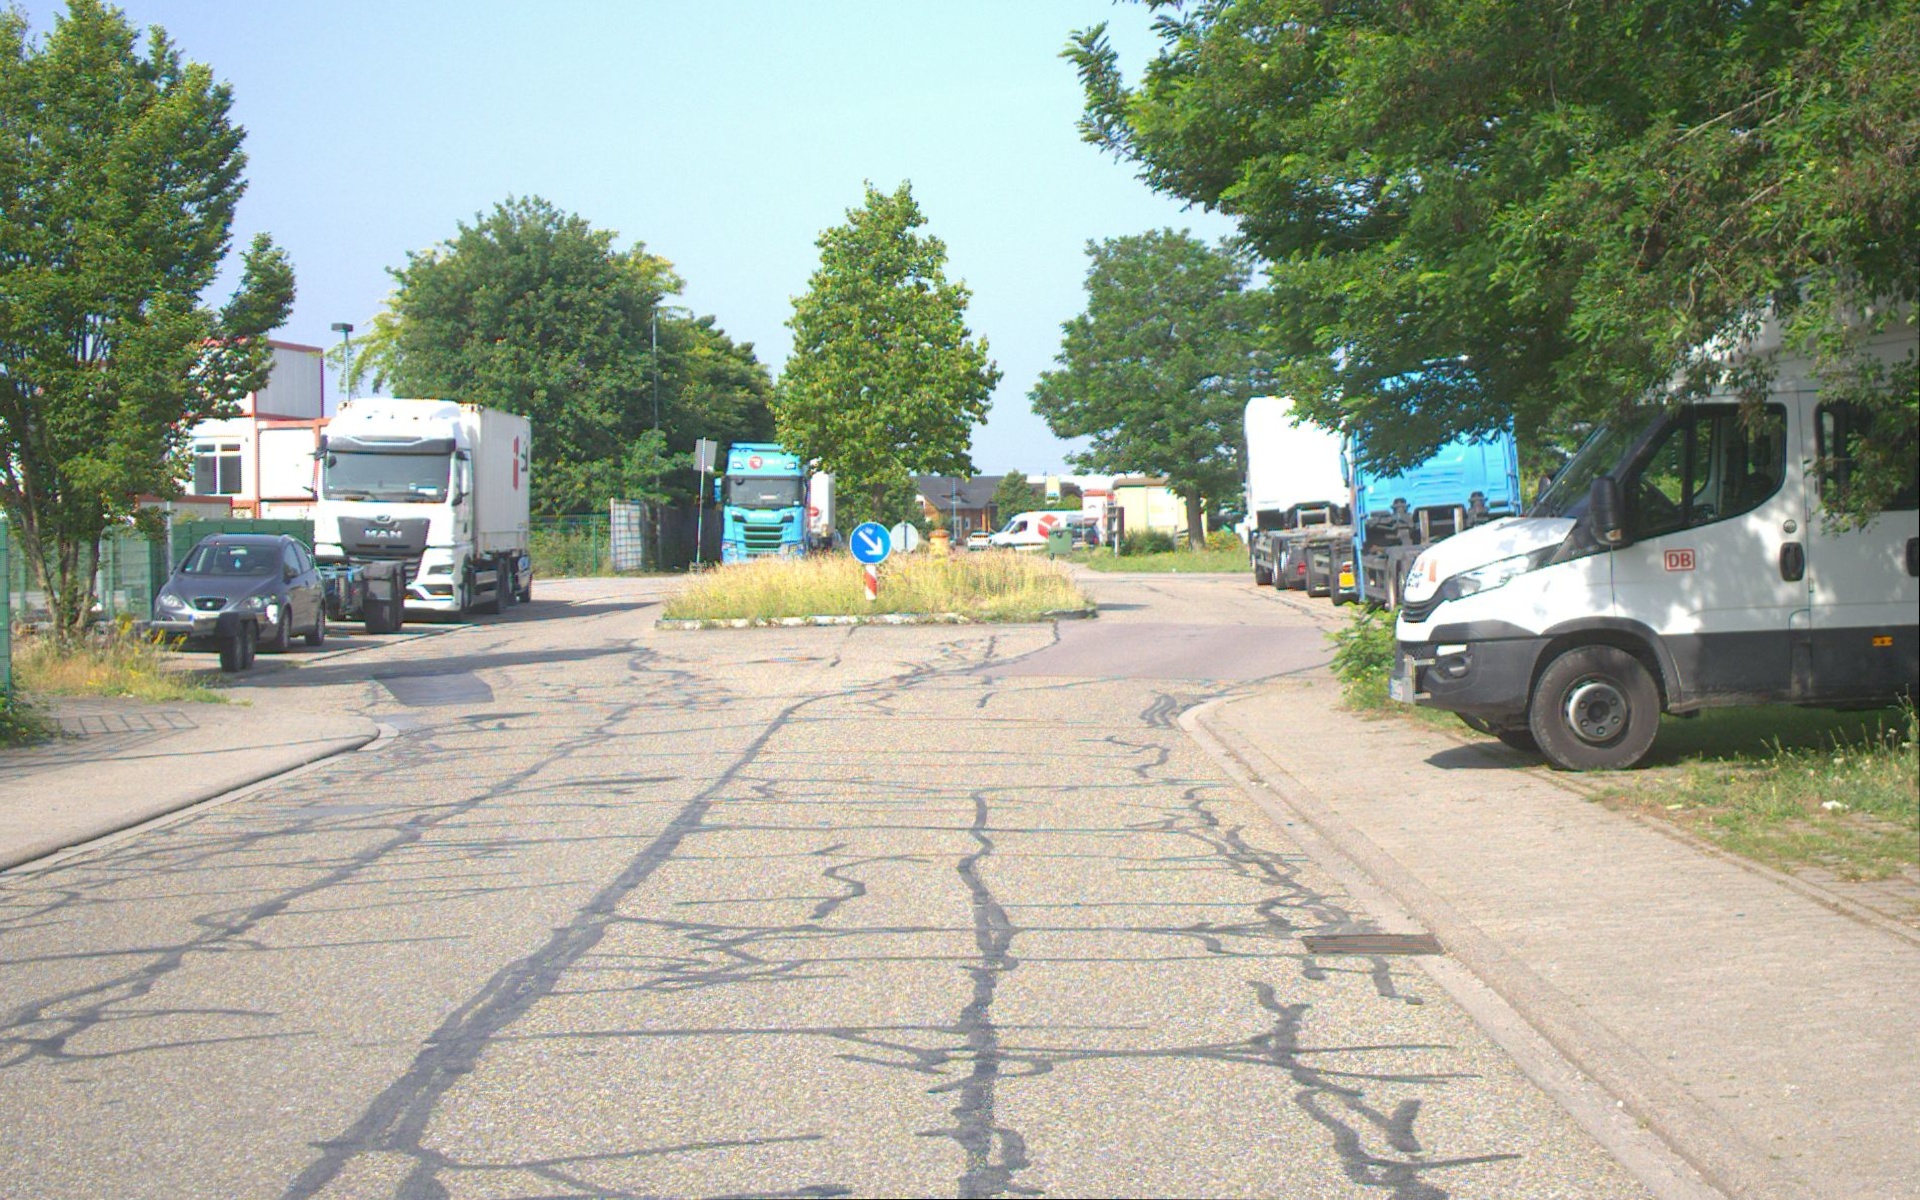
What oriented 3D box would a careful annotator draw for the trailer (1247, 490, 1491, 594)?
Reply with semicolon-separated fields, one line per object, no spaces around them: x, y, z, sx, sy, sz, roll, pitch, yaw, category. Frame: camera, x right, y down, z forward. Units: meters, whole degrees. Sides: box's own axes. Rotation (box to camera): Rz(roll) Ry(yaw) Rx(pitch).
7.416;-1.125;64.733;2.746;1.568;16.172;-3;1;1;trailer

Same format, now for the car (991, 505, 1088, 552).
4.749;-4.289;205.967;5.769;2.724;2.000;1;0;0;car

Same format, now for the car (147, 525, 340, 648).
-9.826;-0.230;47.419;1.696;1.556;4.336;1;1;1;car

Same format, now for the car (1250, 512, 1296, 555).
12.435;-2.643;136.793;1.717;1.612;3.999;1;0;4;car

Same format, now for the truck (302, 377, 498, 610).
-9.781;-1.821;60.401;2.708;3.908;4.297;1;0;0;truck

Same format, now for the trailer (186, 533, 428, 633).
-10.124;-0.302;53.805;2.681;1.448;5.077;0;2;2;trailer

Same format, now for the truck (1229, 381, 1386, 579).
7.411;-2.549;73.770;2.746;3.968;4.000;-4;1;1;truck

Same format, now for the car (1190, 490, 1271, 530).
9.556;-3.191;121.826;1.667;1.325;3.664;1;0;-16;car

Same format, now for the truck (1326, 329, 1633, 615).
7.312;-1.710;49.829;2.888;3.523;9.755;-5;0;1;truck

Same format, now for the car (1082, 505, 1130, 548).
6.136;-3.079;145.114;1.792;1.744;4.000;1;0;0;car

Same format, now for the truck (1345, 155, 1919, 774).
6.613;-0.845;20.521;8.208;3.359;2.741;-2;0;0;truck

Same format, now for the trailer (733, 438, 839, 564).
-5.682;-3.159;113.843;2.831;3.829;12.036;1;0;0;trailer

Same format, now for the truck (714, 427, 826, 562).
-5.714;-3.119;104.779;2.825;3.812;9.673;1;0;0;truck

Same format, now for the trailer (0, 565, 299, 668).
-9.753;0.149;40.906;2.547;0.922;6.710;2;1;-1;trailer

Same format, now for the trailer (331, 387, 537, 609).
-9.807;-1.829;64.845;2.699;3.908;7.575;1;0;0;trailer
